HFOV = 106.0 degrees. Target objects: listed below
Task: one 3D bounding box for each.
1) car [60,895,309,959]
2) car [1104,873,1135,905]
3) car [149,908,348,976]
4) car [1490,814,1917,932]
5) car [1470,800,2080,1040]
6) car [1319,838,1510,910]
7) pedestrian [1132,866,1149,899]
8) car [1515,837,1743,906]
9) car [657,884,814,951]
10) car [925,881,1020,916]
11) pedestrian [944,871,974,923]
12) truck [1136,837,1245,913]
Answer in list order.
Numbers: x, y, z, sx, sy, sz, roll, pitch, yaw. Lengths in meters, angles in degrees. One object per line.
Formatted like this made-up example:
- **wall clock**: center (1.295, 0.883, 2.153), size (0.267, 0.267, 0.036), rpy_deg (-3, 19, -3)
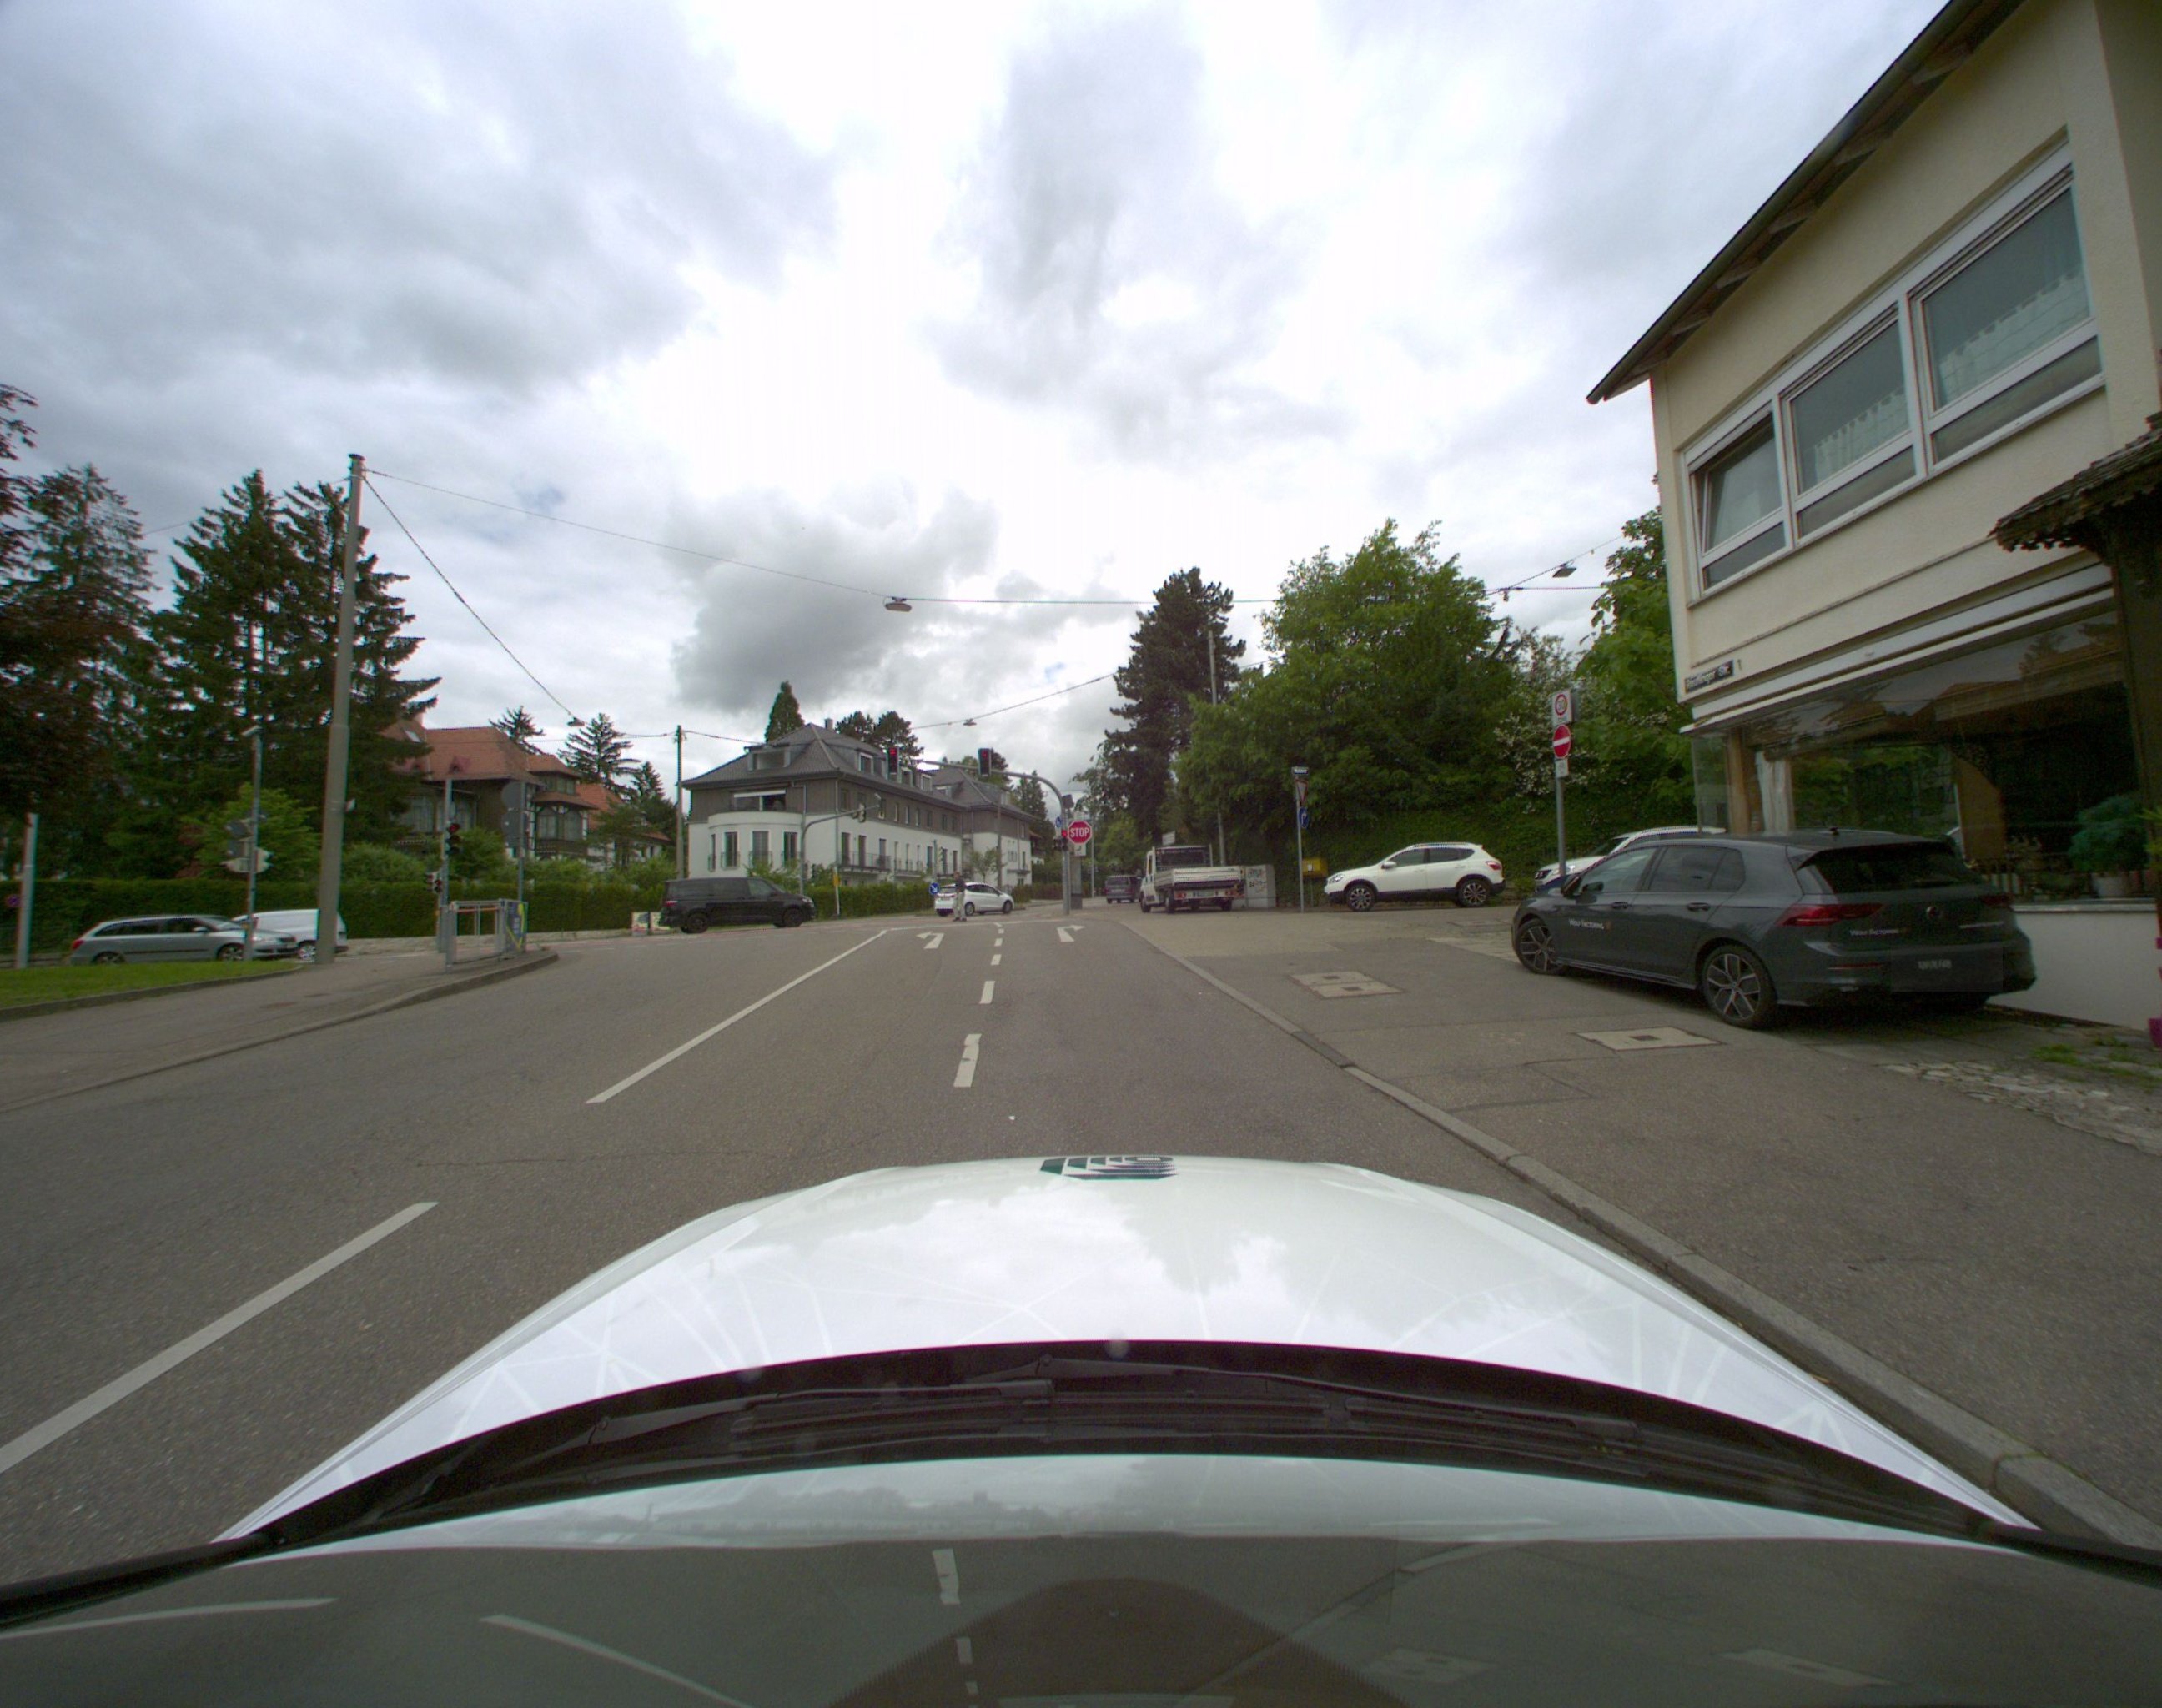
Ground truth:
- **car**: center (-24.239, 1.936, 22.245), size (4.199, 1.476, 1.700), rpy_deg (0, -1, -23)
- **car**: center (2.678, 2.470, 57.950), size (1.986, 2.013, 4.510), rpy_deg (-2, 0, 1)
- **car**: center (-28.070, 2.909, 27.704), size (4.369, 1.857, 1.979), rpy_deg (-1, 0, -33)
- **car**: center (8.564, 0.291, 11.625), size (4.471, 1.327, 1.841), rpy_deg (-3, -2, 8)
- **car**: center (5.725, 0.462, 7.665), size (1.843, 1.472, 4.382), rpy_deg (-4, -1, -2)
- **car**: center (8.262, 0.559, 20.593), size (4.207, 1.594, 1.996), rpy_deg (-3, -4, 16)
- **pedestrian**: center (3.710, 1.794, 50.992), size (0.831, 2.014, 0.592), rpy_deg (-3, -2, 21)
- **car**: center (12.885, 0.431, 19.437), size (4.034, 1.467, 2.006), rpy_deg (-1, -1, 10)
- **car**: center (-11.826, 2.109, 28.039), size (4.789, 2.014, 1.983), rpy_deg (0, -1, -26)
- **car**: center (-4.738, 1.949, 36.112), size (1.912, 1.383, 4.025), rpy_deg (-4, -3, 35)
- **pedestrian**: center (-4.032, 1.407, 26.968), size (0.703, 1.682, 0.678), rpy_deg (-1, -1, -36)
- **truck**: center (3.443, 0.790, 27.080), size (2.181, 2.195, 5.867), rpy_deg (-2, -3, -6)
